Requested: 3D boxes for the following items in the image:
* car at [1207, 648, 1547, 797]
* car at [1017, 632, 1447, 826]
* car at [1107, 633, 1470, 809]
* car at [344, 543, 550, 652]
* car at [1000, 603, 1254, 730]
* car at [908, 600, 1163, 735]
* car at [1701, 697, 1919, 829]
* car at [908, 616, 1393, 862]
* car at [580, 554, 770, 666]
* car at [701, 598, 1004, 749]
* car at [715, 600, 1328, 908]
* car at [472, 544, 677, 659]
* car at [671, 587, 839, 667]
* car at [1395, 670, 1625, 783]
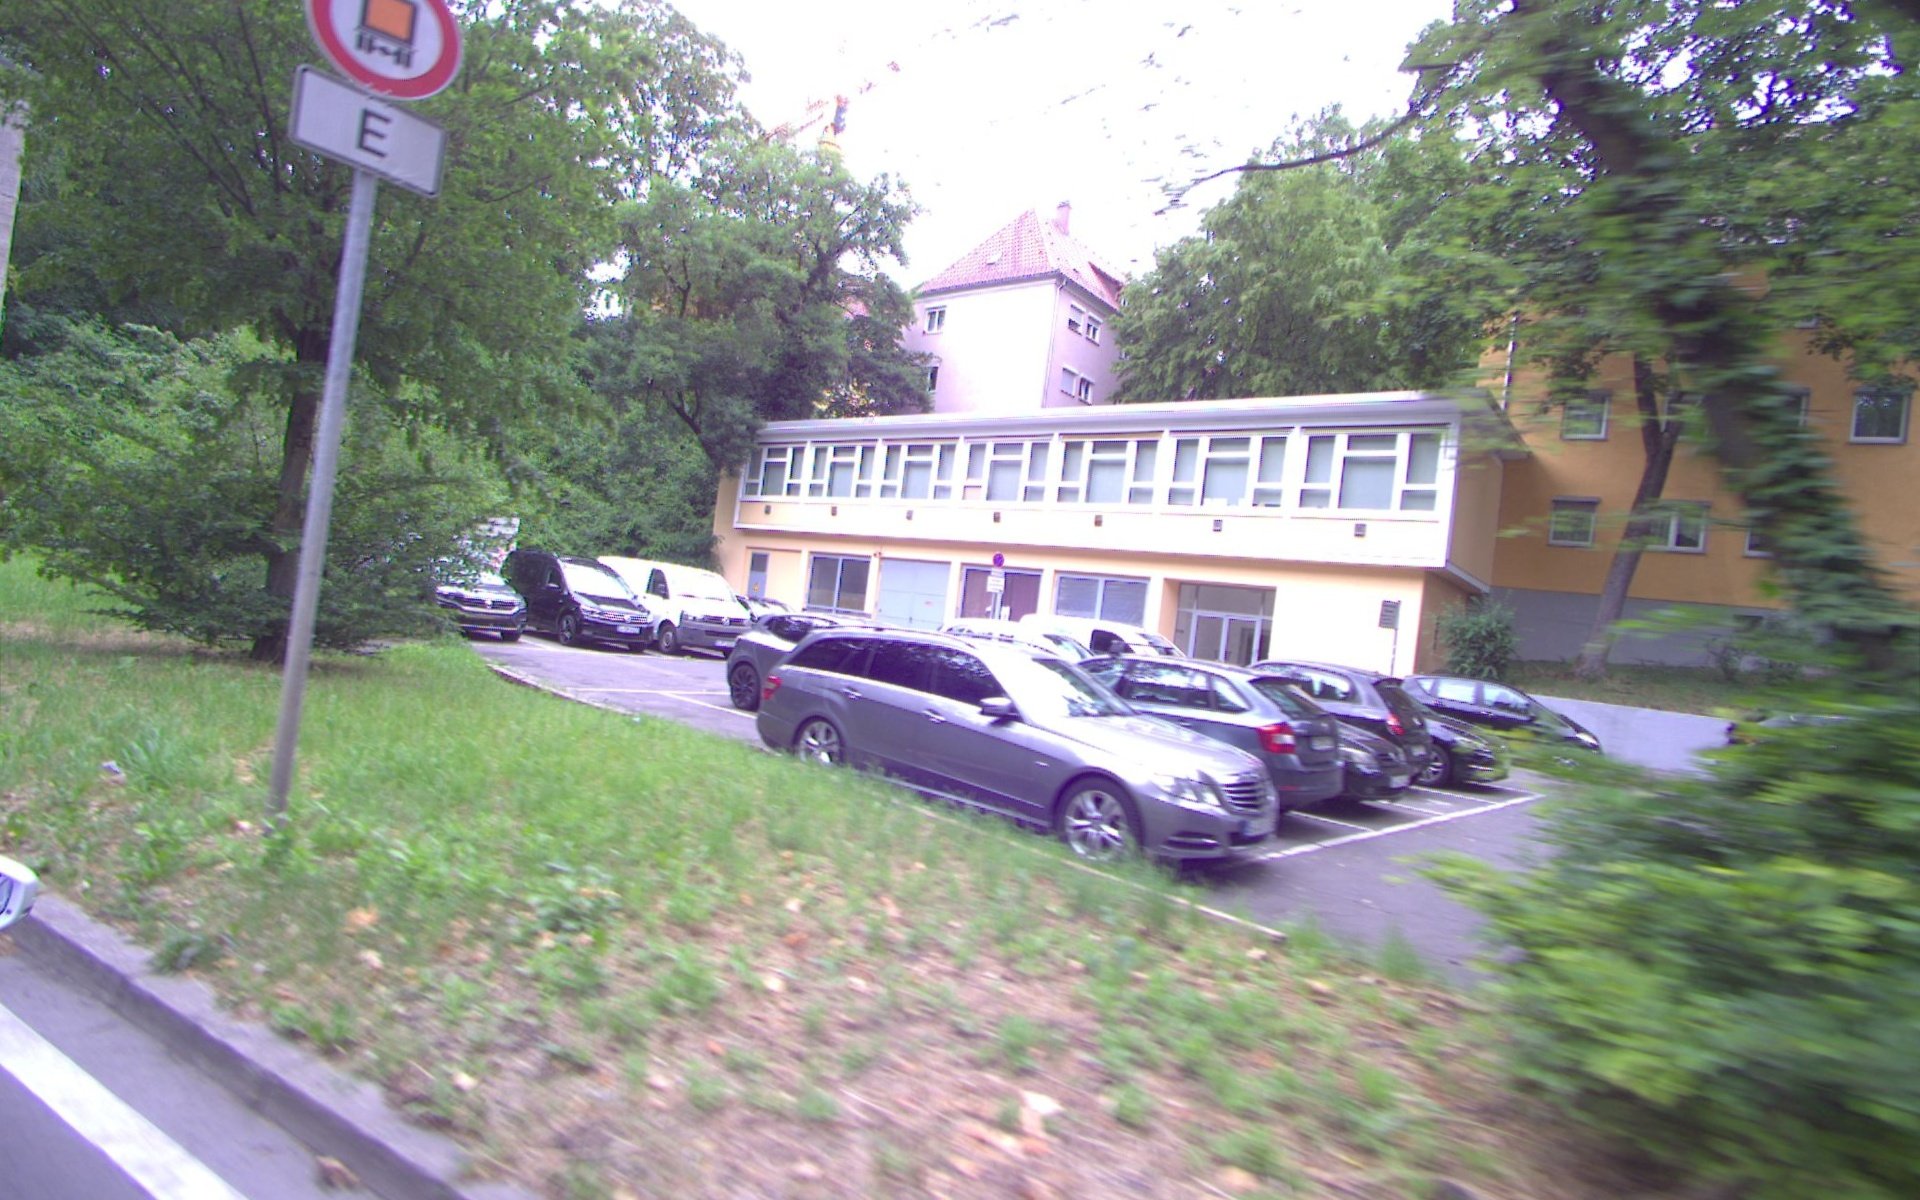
[{"bbox_3d":[6.241,1.769,15.404,4.346,1.463,1.781,7,0,44],"label":"car"},{"bbox_3d":[3.087,1.394,12.017,4.527,1.395,1.784,7,0,40],"label":"car"},{"bbox_3d":[4.427,1.560,14.037,4.346,1.613,1.781,7,0,44],"label":"car"},{"bbox_3d":[-10.340,-0.101,20.101,4.814,1.687,1.806,6,1,39],"label":"car"},{"bbox_3d":[2.946,1.162,18.437,1.802,1.460,4.188,8,3,-44],"label":"car"},{"bbox_3d":[1.176,1.091,17.032,1.802,1.460,3.953,8,3,-44],"label":"car"},{"bbox_3d":[15.194,2.761,16.750,4.286,1.693,1.996,6,0,31],"label":"car"},{"bbox_3d":[1.800,1.253,10.454,4.527,1.577,1.783,7,0,40],"label":"car"},{"bbox_3d":[-6.656,0.189,23.232,4.498,2.038,1.855,6,-1,41],"label":"car"},{"bbox_3d":[-1.522,0.921,13.473,3.842,1.459,1.742,6,-1,40],"label":"car"},{"bbox_3d":[0.245,1.039,8.539,4.989,1.460,1.783,7,0,40],"label":"car"},{"bbox_3d":[-8.417,-0.011,21.742,4.814,1.901,1.855,6,-1,39],"label":"car"},{"bbox_3d":[-5.231,0.650,25.357,4.265,1.443,1.794,6,-2,41],"label":"car"},{"bbox_3d":[10.490,2.358,19.422,3.604,1.523,1.654,7,0,28],"label":"car"}]
